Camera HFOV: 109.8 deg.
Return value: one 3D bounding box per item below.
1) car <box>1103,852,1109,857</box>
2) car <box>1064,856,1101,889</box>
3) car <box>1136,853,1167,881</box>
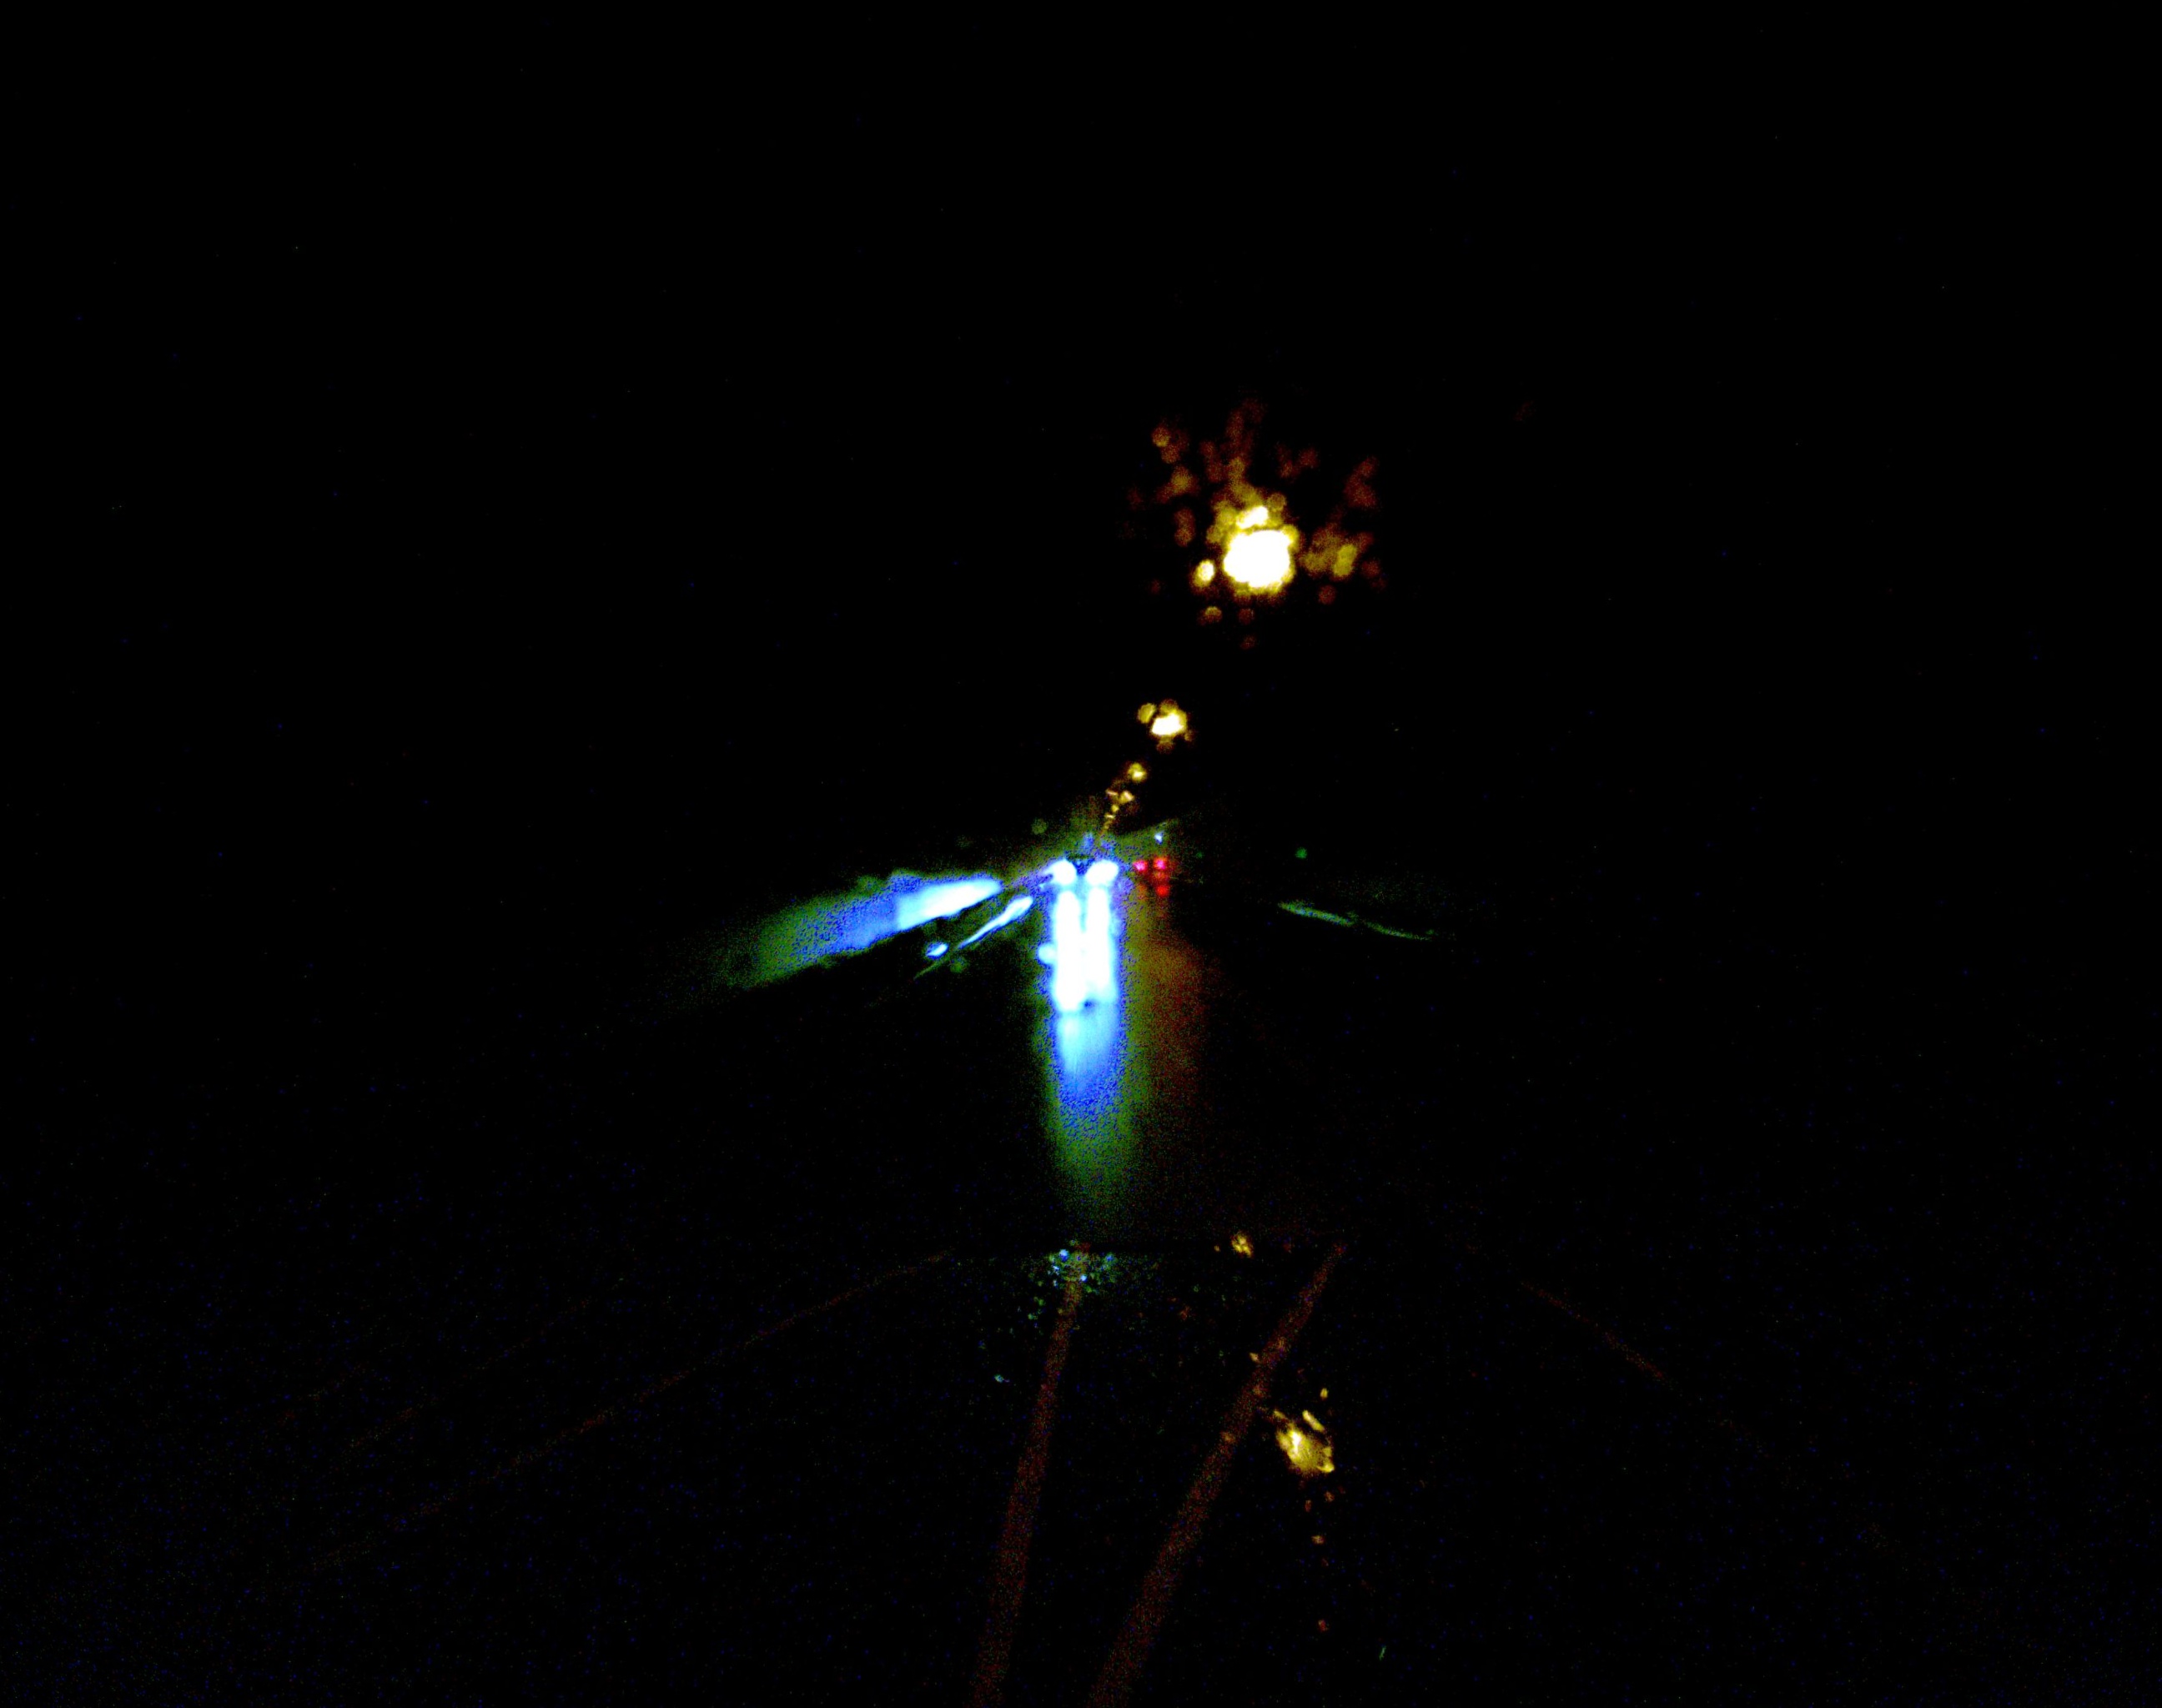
[{"bbox_3d":[7.051,0.131,214.183,1.639,1.526,3.647,1,-1,2],"label":"car"},{"bbox_3d":[0.110,0.847,36.048,1.627,1.487,3.586,1,-1,2],"label":"car"},{"bbox_3d":[4.193,0.758,45.764,1.639,1.593,4.146,1,-1,2],"label":"car"}]
